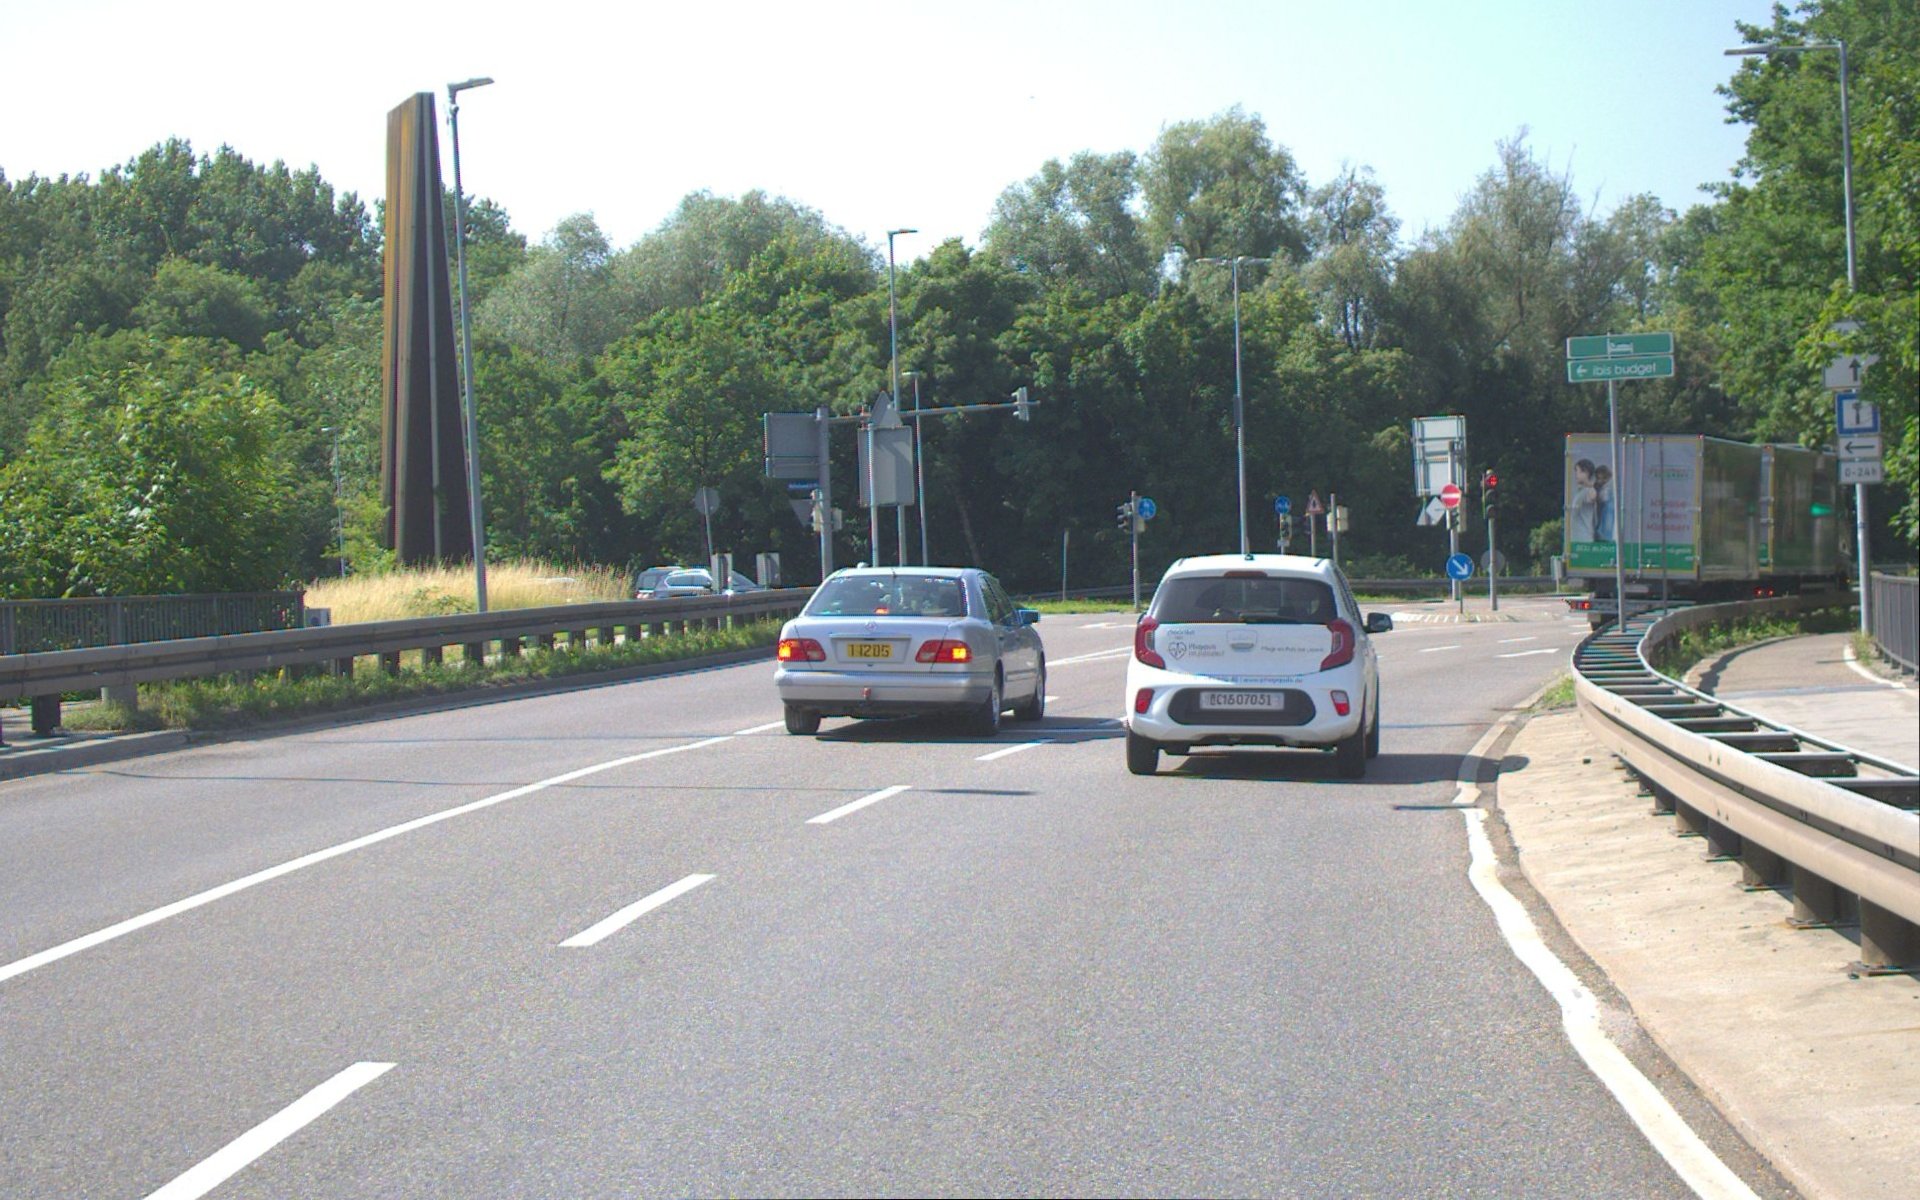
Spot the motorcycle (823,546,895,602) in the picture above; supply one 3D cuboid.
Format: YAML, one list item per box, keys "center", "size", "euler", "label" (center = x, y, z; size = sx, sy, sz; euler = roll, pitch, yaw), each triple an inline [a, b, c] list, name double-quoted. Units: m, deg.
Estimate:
- center: [-2.964, -0.754, 100.855]
  size: [1.981, 1.524, 0.897]
  euler: [-4, -3, 40]
  label: "motorcycle"

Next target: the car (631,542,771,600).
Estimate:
- center: [-7.433, -0.813, 98.444]
  size: [3.996, 1.384, 1.698]
  euler: [-4, -4, 42]
  label: "car"

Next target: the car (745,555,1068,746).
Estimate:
- center: [-0.354, 0.366, 29.623]
  size: [1.940, 1.481, 4.898]
  euler: [0, 1, 9]
  label: "car"

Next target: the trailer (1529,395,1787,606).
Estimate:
- center: [13.506, -1.859, 65.963]
  size: [3.228, 3.745, 7.815]
  euler: [2, 1, 23]
  label: "trailer"

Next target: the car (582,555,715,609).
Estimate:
- center: [-9.471, -0.539, 104.452]
  size: [3.996, 1.384, 1.763]
  euler: [-4, -4, 42]
  label: "car"

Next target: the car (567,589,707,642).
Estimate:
- center: [-9.945, 0.493, 105.725]
  size: [3.996, 1.384, 2.118]
  euler: [-4, -4, 42]
  label: "car"

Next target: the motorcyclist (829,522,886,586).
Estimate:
- center: [-3.006, -1.336, 100.892]
  size: [1.463, 1.864, 0.890]
  euler: [0, 0, 40]
  label: "motorcyclist"

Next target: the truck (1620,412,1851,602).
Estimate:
- center: [16.650, -1.939, 73.340]
  size: [3.264, 3.745, 8.360]
  euler: [2, 1, 23]
  label: "truck"

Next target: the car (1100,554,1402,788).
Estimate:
- center: [2.142, 0.444, 24.369]
  size: [1.702, 1.489, 3.998]
  euler: [1, 1, 11]
  label: "car"
